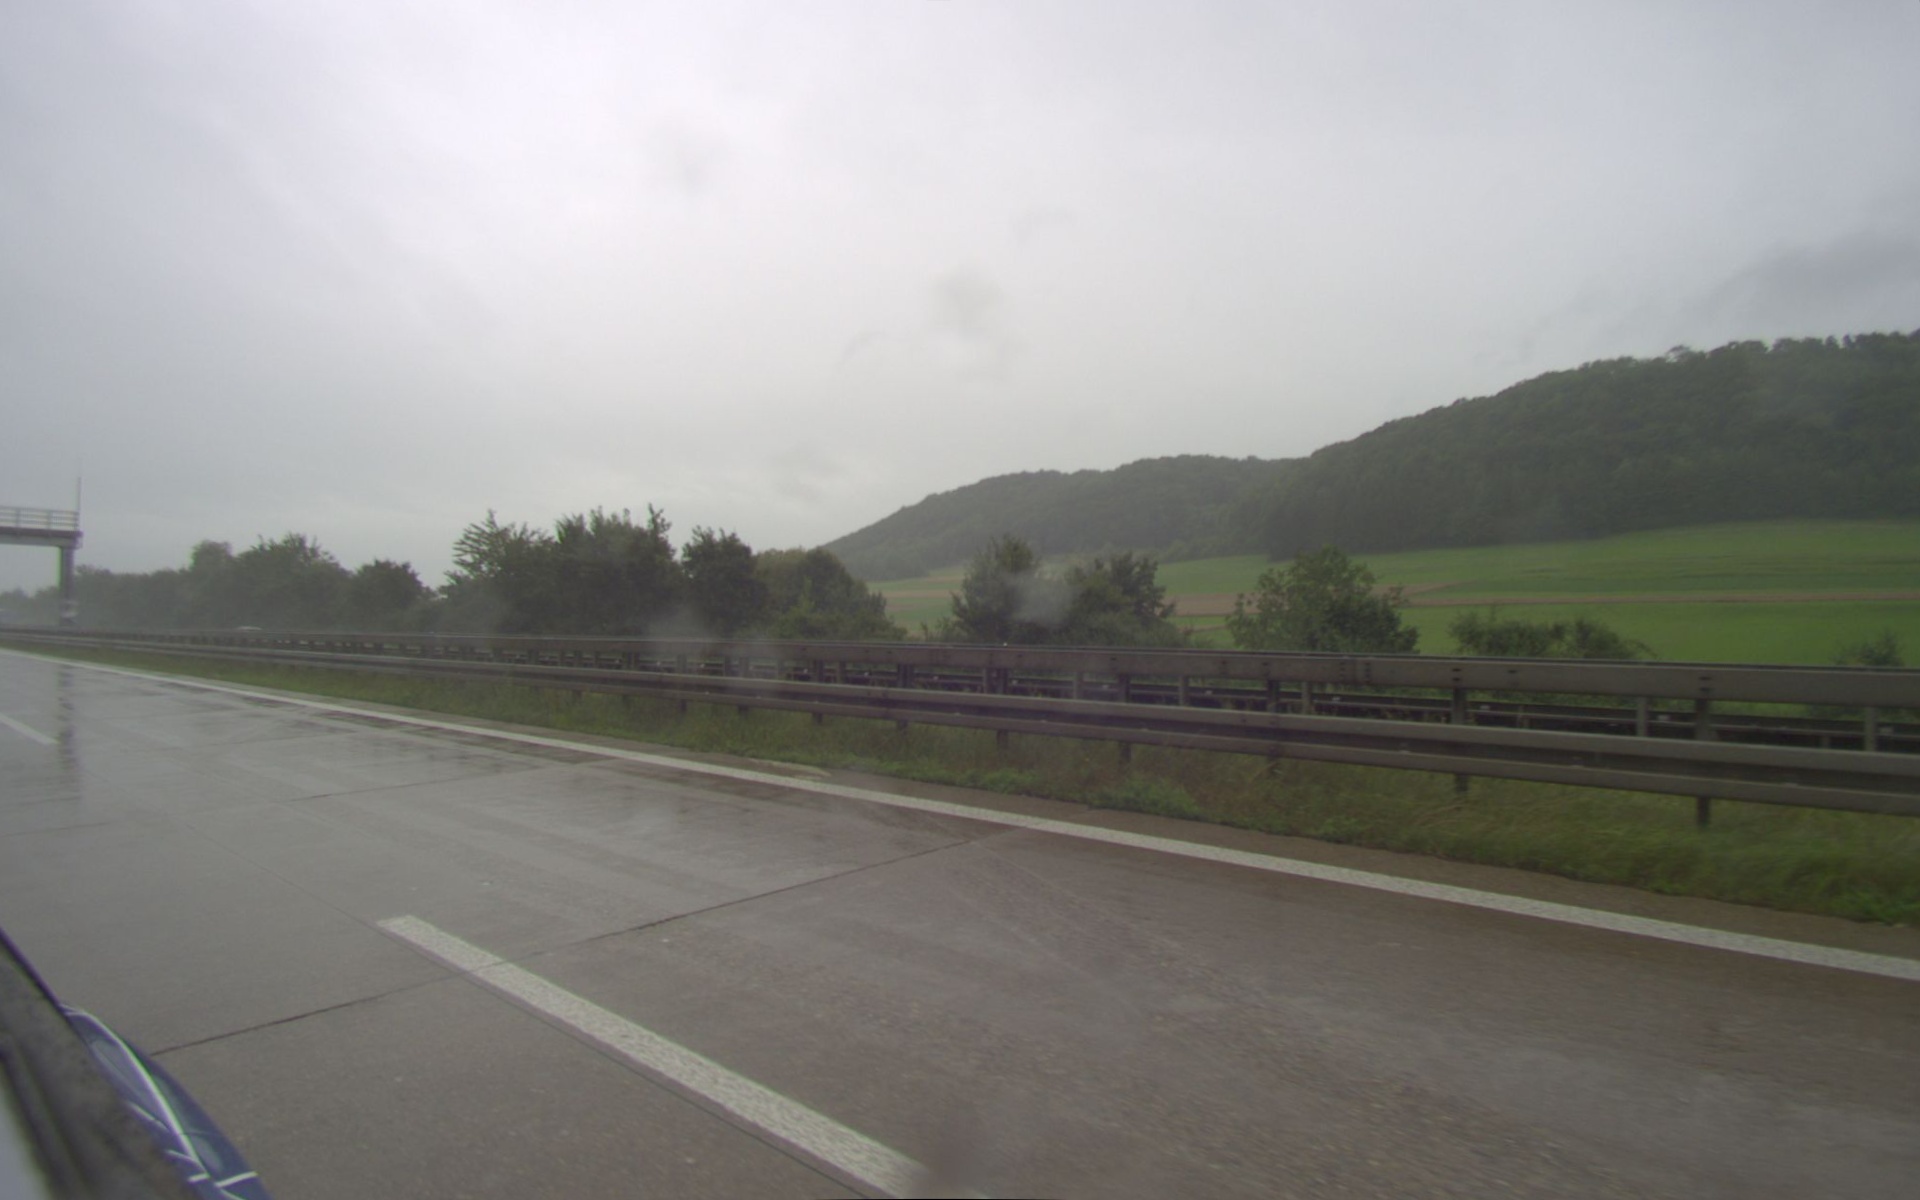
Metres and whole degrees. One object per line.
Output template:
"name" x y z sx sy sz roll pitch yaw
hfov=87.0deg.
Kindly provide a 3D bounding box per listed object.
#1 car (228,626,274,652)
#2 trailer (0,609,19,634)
"car" -52.959 2.904 75.593 3.998 1.796 1.973 -1 -1 42
"trailer" -163.805 3.732 172.827 11.394 4.205 3.320 -1 -2 41
